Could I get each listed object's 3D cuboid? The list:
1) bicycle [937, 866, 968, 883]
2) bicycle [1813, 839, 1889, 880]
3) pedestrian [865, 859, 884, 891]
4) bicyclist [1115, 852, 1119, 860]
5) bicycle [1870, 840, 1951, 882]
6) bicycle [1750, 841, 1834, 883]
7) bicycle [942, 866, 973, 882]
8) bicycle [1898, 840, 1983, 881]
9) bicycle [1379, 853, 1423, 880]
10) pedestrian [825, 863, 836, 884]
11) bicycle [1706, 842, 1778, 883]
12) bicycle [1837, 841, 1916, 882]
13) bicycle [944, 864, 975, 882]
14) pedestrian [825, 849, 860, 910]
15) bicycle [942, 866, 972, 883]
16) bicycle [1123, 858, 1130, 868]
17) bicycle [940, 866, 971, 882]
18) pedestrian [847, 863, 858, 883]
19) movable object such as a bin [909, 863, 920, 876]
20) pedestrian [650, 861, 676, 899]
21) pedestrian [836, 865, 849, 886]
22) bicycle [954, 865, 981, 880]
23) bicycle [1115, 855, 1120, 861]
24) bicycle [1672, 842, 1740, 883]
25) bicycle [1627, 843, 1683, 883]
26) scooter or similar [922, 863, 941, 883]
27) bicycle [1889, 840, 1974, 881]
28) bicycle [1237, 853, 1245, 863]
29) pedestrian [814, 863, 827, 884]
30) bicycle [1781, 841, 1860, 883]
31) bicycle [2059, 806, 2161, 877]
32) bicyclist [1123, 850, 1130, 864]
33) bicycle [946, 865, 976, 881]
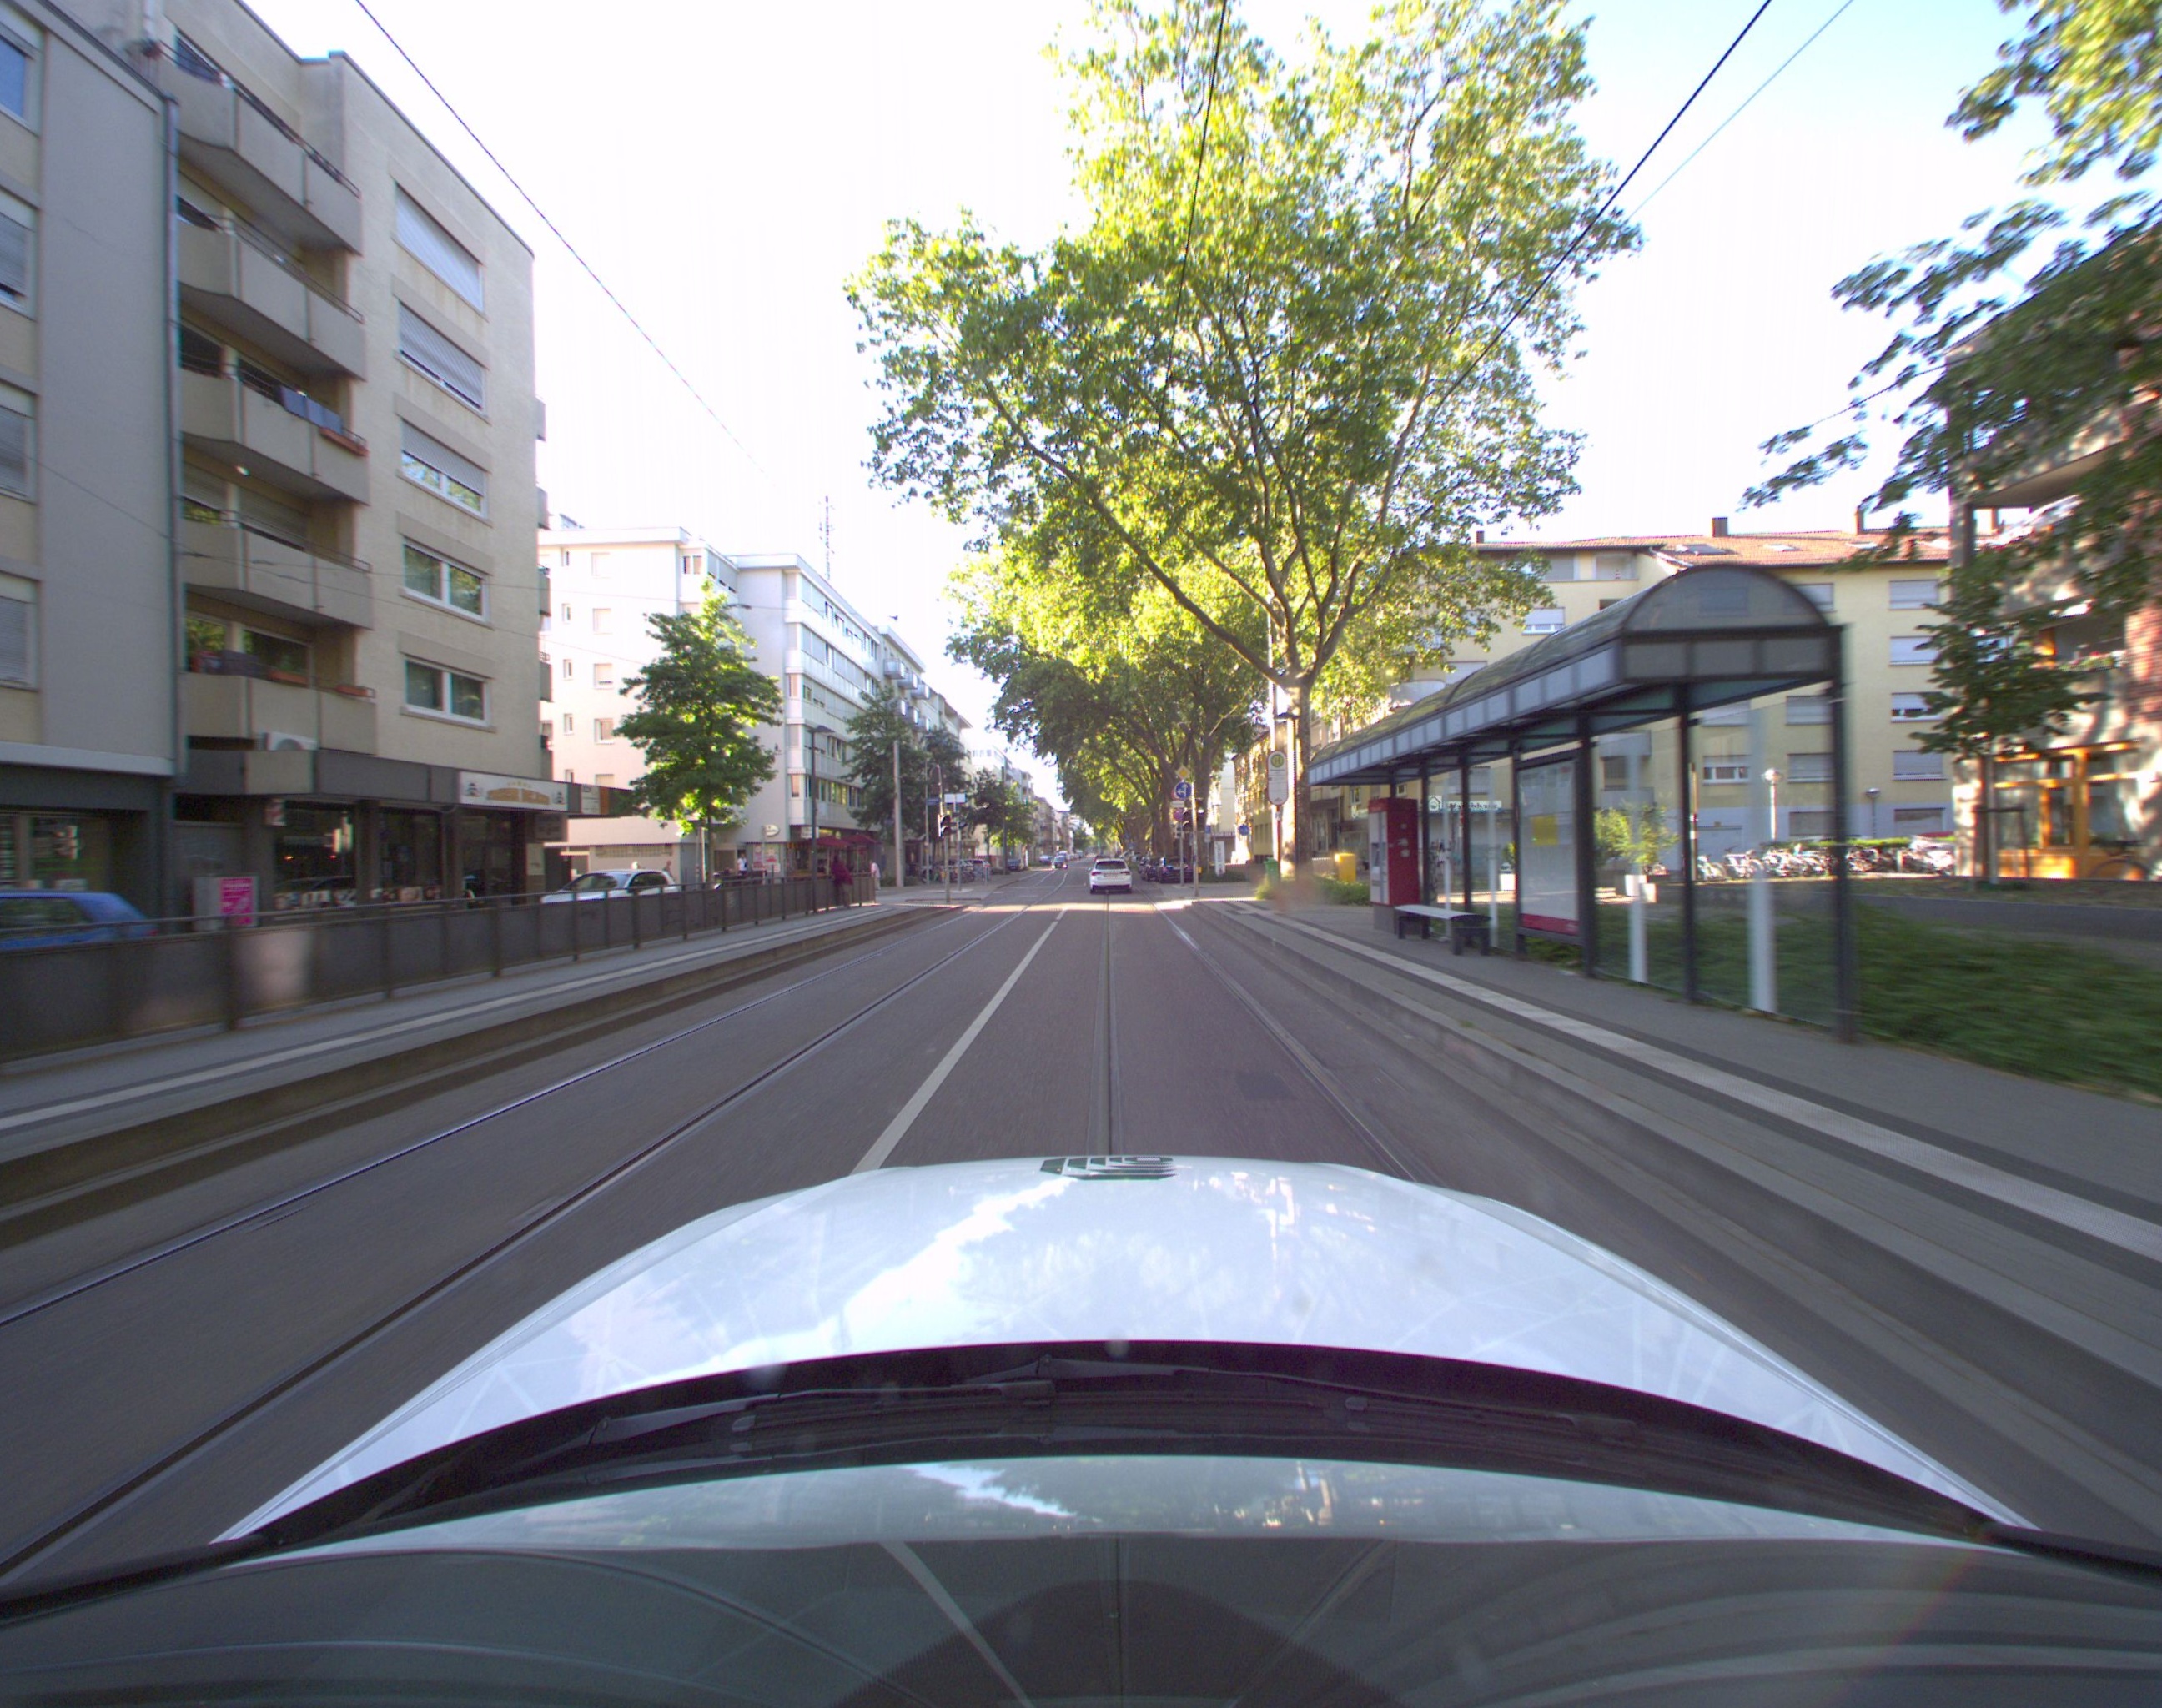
[{"bbox_3d":[-7.886,1.240,49.918,1.825,1.007,0.657,0,-1,-4],"label":"bicycle"},{"bbox_3d":[23.050,0.158,24.420,0.659,1.156,1.698,-3,0,1],"label":"bicycle"},{"bbox_3d":[-10.341,1.048,40.815,0.723,1.556,0.768,-2,0,-4],"label":"pedestrian"},{"bbox_3d":[6.413,0.396,143.753,0.647,1.344,0.934,-2,0,0],"label":"bicyclist"},{"bbox_3d":[24.440,0.206,24.030,0.561,1.156,1.696,-3,0,-3],"label":"bicycle"},{"bbox_3d":[21.256,0.242,24.401,0.727,1.156,2.052,-3,0,2],"label":"bicycle"},{"bbox_3d":[-7.730,1.254,51.003,1.825,1.007,0.657,0,-1,-4],"label":"bicycle"},{"bbox_3d":[25.711,0.200,24.390,0.562,1.156,1.692,-3,0,-9],"label":"bicycle"},{"bbox_3d":[14.828,0.588,37.760,1.797,1.156,0.741,-3,0,-21],"label":"bicycle"},{"bbox_3d":[-14.259,1.105,46.380,0.512,1.198,0.561,-2,0,-15],"label":"pedestrian"},{"bbox_3d":[19.976,0.251,24.657,0.633,1.156,1.984,-3,0,4],"label":"bicycle"},{"bbox_3d":[23.774,0.217,24.366,0.659,1.156,1.698,-3,0,1],"label":"bicycle"},{"bbox_3d":[-7.659,1.189,51.322,1.825,1.064,0.657,0,-1,-4],"label":"bicycle"},{"bbox_3d":[-6.375,0.682,21.793,0.651,1.585,0.773,-2,0,2],"label":"pedestrian"},{"bbox_3d":[-7.383,1.227,48.425,1.687,1.007,0.657,0,-1,-4],"label":"bicycle"},{"bbox_3d":[4.945,0.984,88.534,0.679,1.071,1.782,-2,0,2],"label":"bicycle"},{"bbox_3d":[-7.782,1.237,50.357,1.825,1.007,0.657,0,-1,-4],"label":"bicycle"},{"bbox_3d":[-14.120,1.186,50.315,0.514,1.198,0.559,-2,0,-28],"label":"pedestrian"},{"bbox_3d":[-13.339,1.252,65.387,0.675,1.055,0.622,-2,0,3],"label":"movable object such as a bin"},{"bbox_3d":[-19.073,1.185,37.198,0.756,1.671,0.768,-2,0,-4],"label":"pedestrian"},{"bbox_3d":[-14.070,1.289,48.065,0.509,1.198,0.564,-2,0,3],"label":"pedestrian"},{"bbox_3d":[-7.440,1.207,53.485,1.687,1.007,0.657,0,-1,-4],"label":"bicycle"},{"bbox_3d":[6.428,0.704,143.739,0.647,1.071,1.583,-2,0,0],"label":"bicycle"},{"bbox_3d":[18.728,0.262,24.444,0.598,1.156,1.696,-3,0,-3],"label":"bicycle"},{"bbox_3d":[17.652,0.280,25.091,0.597,1.156,1.700,-3,0,5],"label":"bicycle"},{"bbox_3d":[-9.273,1.176,50.370,1.076,1.176,0.498,0,-1,0],"label":"scooter or similar"},{"bbox_3d":[25.088,0.200,24.056,0.519,1.156,1.692,-3,0,-9],"label":"bicycle"},{"bbox_3d":[18.562,0.476,94.447,0.580,1.104,1.923,-3,0,1],"label":"bicycle"},{"bbox_3d":[-14.952,1.124,46.742,0.566,1.198,0.508,-2,0,-34],"label":"pedestrian"},{"bbox_3d":[22.205,0.233,24.515,0.659,1.156,1.851,-3,0,1],"label":"bicycle"},{"bbox_3d":[18.571,-0.241,14.189,1.913,1.156,0.575,-3,-1,17],"label":"bicycle"},{"bbox_3d":[4.914,0.342,88.470,0.676,1.443,1.048,-2,0,2],"label":"bicyclist"},{"bbox_3d":[-7.701,1.197,52.136,1.825,1.007,0.657,0,-1,-4],"label":"bicycle"}]
